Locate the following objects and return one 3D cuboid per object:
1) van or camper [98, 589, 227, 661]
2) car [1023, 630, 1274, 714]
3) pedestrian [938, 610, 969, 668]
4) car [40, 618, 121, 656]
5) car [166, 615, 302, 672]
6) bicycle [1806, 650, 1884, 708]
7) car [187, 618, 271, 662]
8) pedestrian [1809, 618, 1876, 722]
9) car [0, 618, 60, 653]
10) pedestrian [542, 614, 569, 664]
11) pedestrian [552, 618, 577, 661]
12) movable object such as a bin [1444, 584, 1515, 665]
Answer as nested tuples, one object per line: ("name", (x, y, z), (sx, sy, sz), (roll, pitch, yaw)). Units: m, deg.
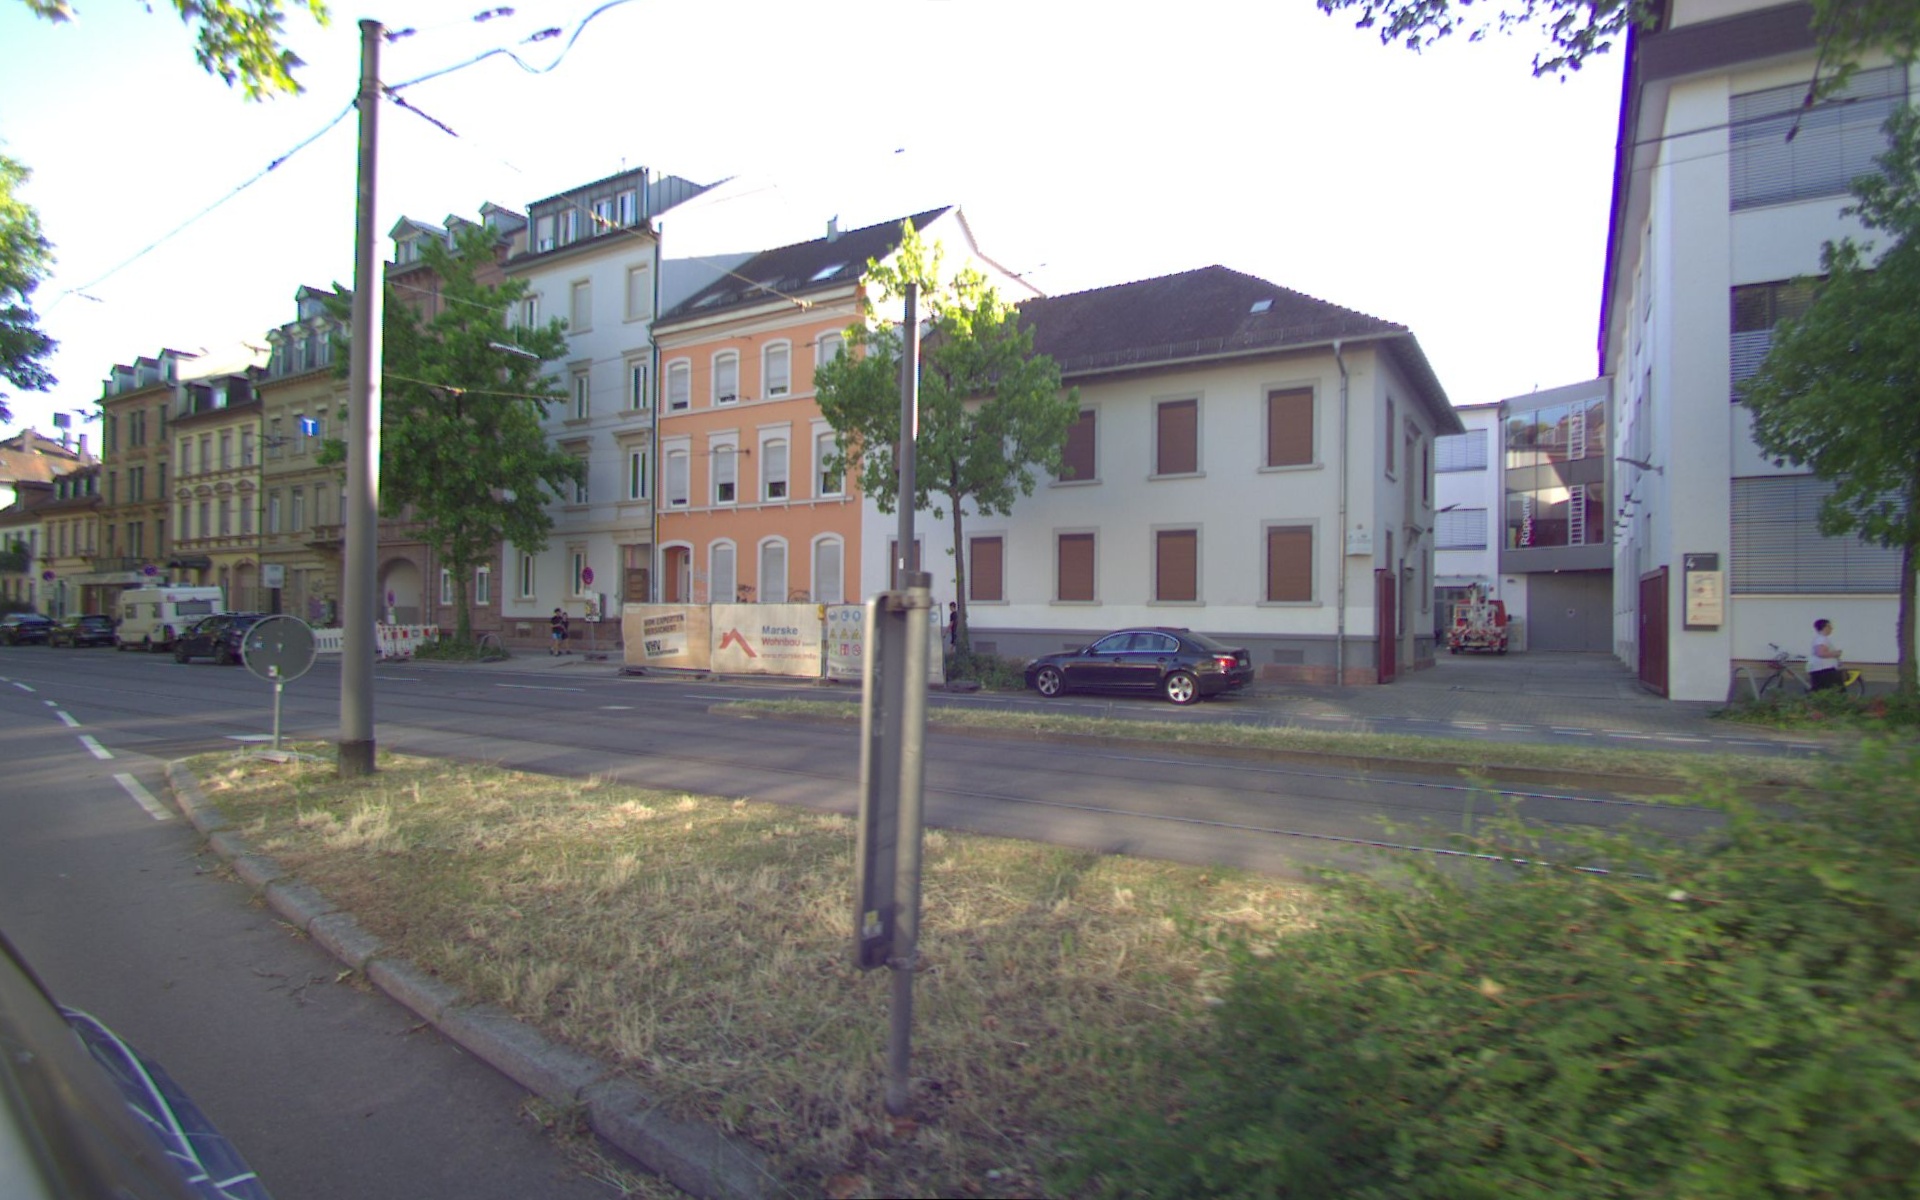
("van or camper", (-36.052, 1.062, 45.674), (7.231, 2.969, 2.400), (-1, 1, 34))
("car", (3.826, 1.394, 20.827), (4.709, 1.525, 1.978), (-1, -2, 32))
("pedestrian", (-0.188, 1.062, 27.842), (0.637, 1.582, 0.589), (-1, -2, 31))
("car", (-44.024, 1.827, 50.640), (4.428, 1.718, 1.797), (-1, 1, 32))
("car", (-23.197, 1.347, 32.322), (4.294, 1.702, 1.979), (-1, -2, 31))
("bicycle", (16.099, 1.435, 18.431), (1.015, 1.010, 0.300), (-1, -2, 31))
("car", (-30.665, 1.634, 42.446), (3.357, 1.718, 1.619), (-1, 1, 30))
("pedestrian", (14.307, 1.109, 16.424), (0.730, 1.633, 0.630), (0, -1, 35))
("car", (-50.732, 1.880, 54.583), (4.734, 1.715, 1.979), (-1, 1, 32))
("pedestrian", (-13.906, 1.337, 34.781), (0.685, 1.666, 0.564), (-1, 0, 30))
("pedestrian", (-13.905, 1.384, 35.605), (0.605, 1.472, 0.571), (-1, 0, 31))
("movable object such as a bin", (21.473, 0.905, 41.672), (2.279, 3.026, 6.055), (-1, 1, 30))
